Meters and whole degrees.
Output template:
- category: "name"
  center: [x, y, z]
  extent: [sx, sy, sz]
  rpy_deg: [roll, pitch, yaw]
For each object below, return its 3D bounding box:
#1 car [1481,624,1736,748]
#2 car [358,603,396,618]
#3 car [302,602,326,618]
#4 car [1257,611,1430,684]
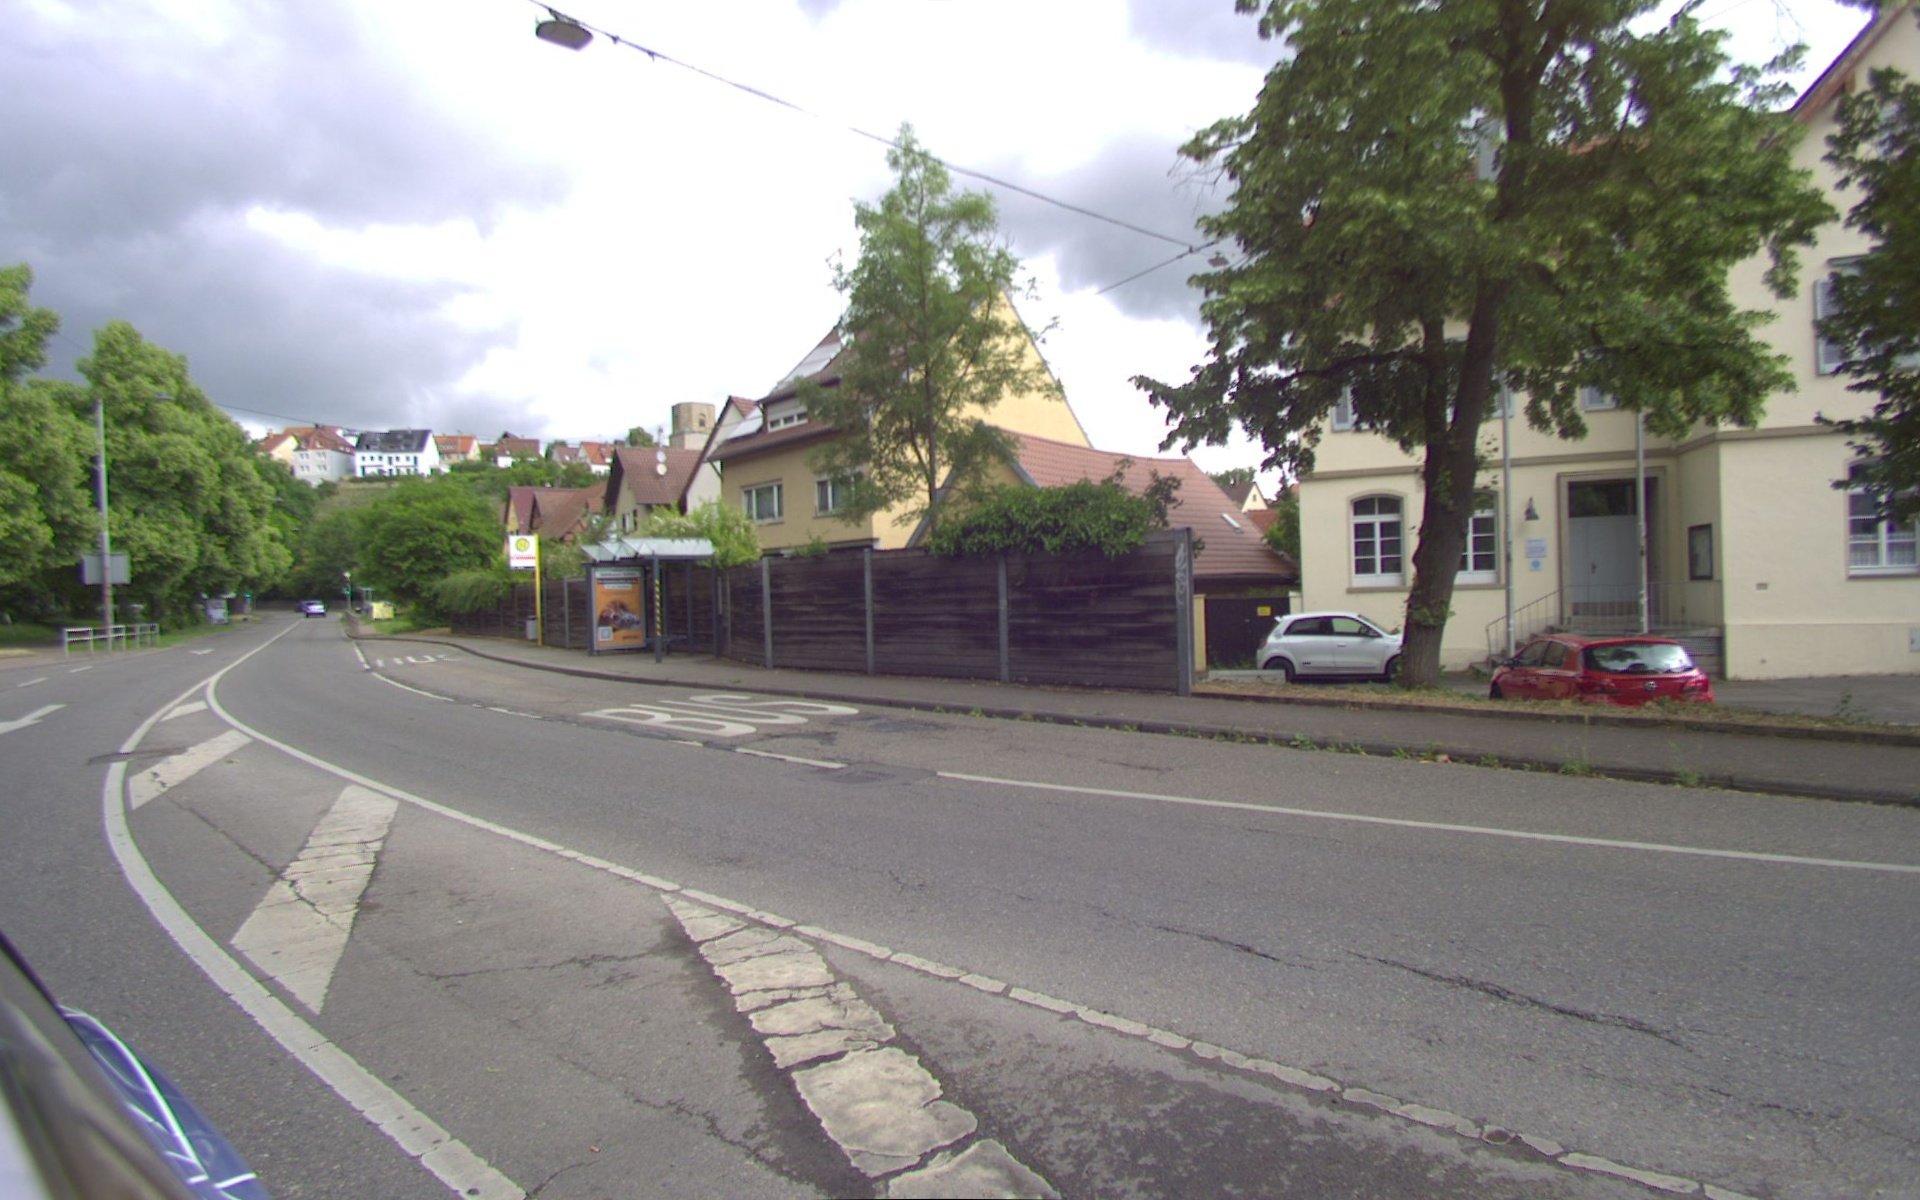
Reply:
- category: "car"
  center: [8.865, 1.103, 14.222]
  extent: [1.643, 1.393, 3.709]
  rpy_deg: [-1, 0, 9]
- category: "car"
  center: [-67.036, 1.168, 116.363]
  extent: [3.619, 1.596, 1.771]
  rpy_deg: [-1, 0, -25]
- category: "car"
  center: [-70.390, 1.106, 110.262]
  extent: [1.967, 1.630, 4.009]
  rpy_deg: [-1, 0, -36]
- category: "car"
  center: [8.351, 1.015, 22.237]
  extent: [3.410, 1.490, 1.600]
  rpy_deg: [-1, 0, 20]
